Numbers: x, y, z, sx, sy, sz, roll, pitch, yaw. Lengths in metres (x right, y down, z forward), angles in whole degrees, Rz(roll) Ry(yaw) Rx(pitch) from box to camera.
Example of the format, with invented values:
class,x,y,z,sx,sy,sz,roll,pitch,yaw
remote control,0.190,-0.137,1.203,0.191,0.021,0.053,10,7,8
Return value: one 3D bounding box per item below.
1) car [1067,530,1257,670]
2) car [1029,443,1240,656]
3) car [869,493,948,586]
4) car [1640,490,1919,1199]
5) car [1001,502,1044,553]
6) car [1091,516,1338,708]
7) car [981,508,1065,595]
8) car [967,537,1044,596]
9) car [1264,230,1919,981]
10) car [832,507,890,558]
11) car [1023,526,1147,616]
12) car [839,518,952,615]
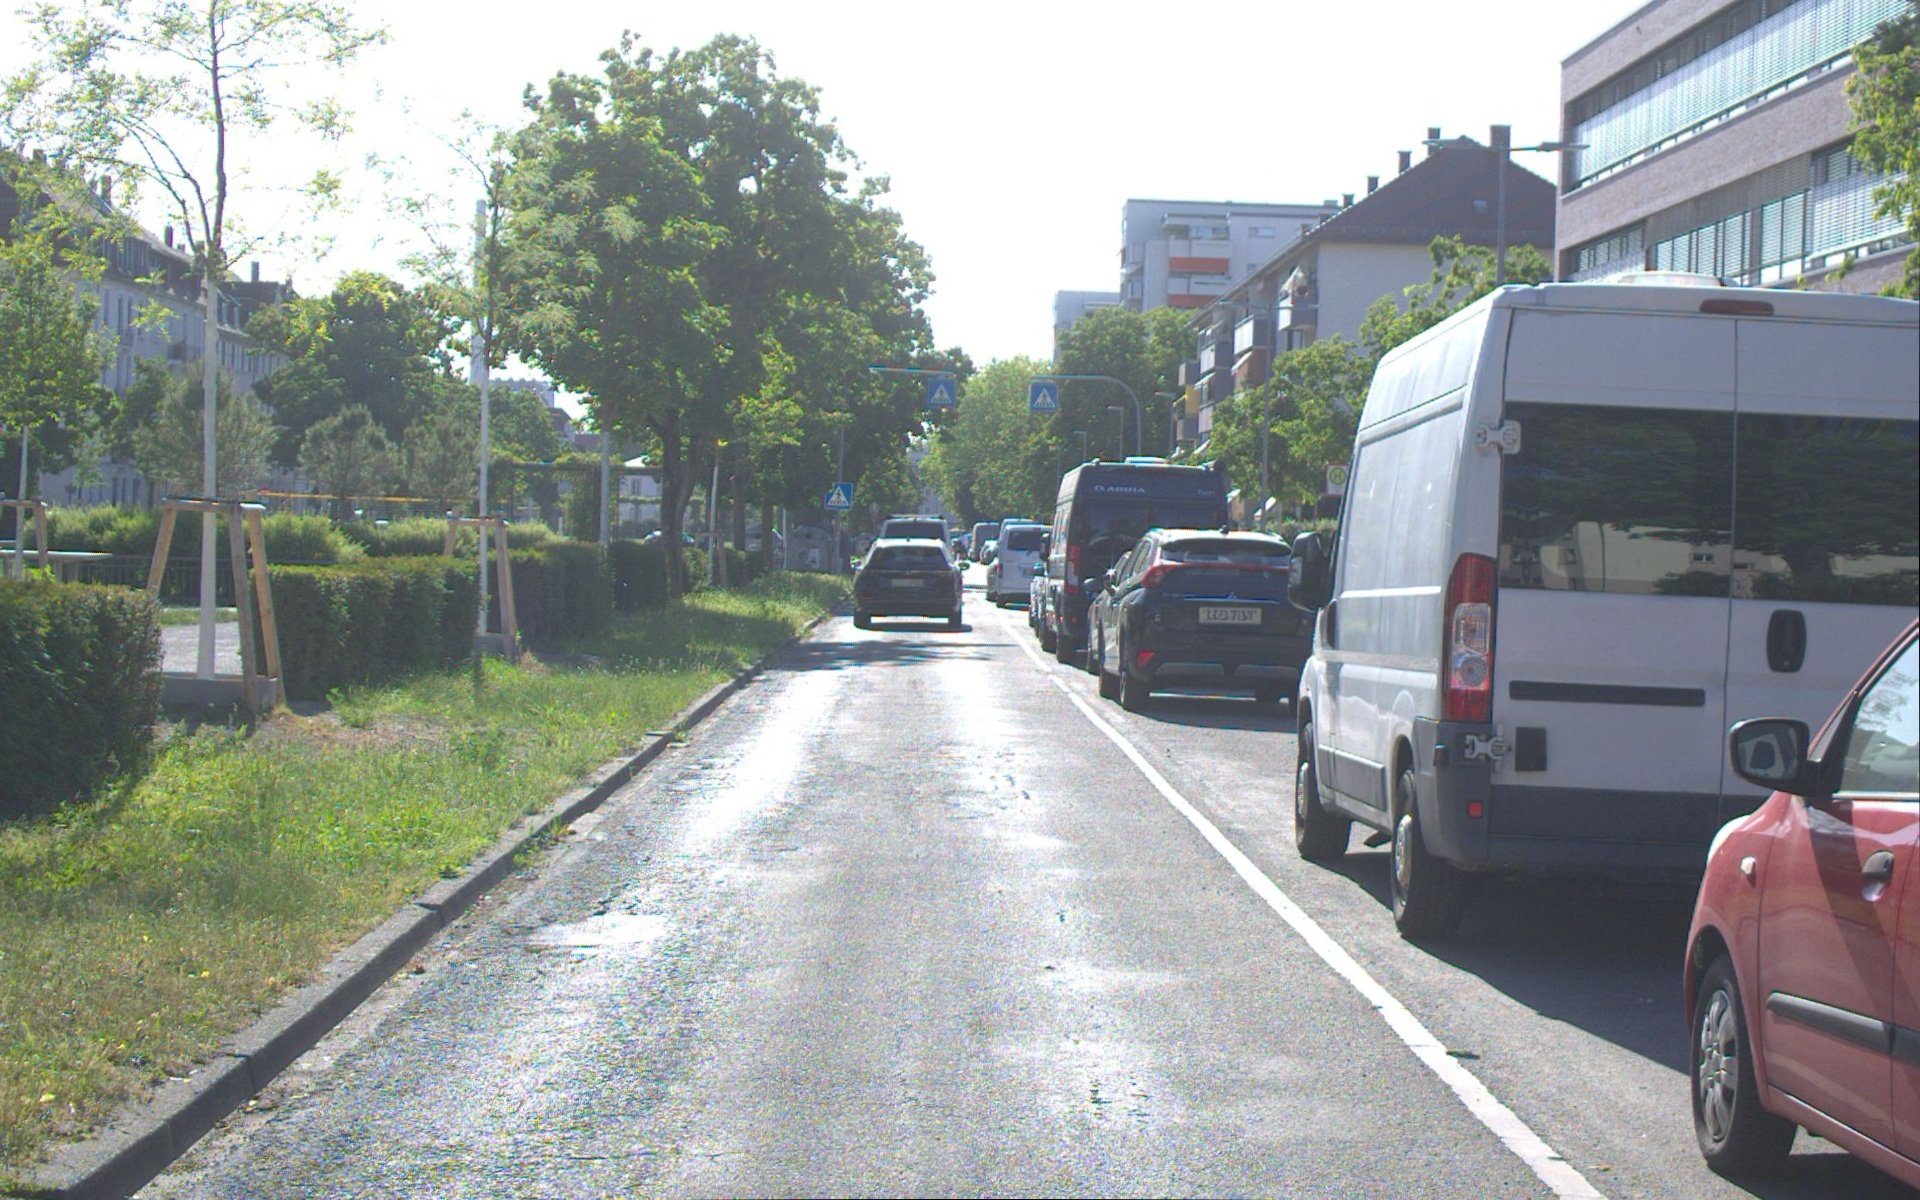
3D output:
class,x,y,z,sx,sy,sz,roll,pitch,yaw
car,2.223,-0.038,38.791,1.794,1.450,3.950,2,1,-1
car,2.165,-0.675,44.634,2.115,2.507,6.533,2,1,-2
car,-1.215,-1.454,82.324,1.794,2.115,4.000,2,1,0
car,2.632,0.601,6.869,1.619,1.583,3.592,2,2,-3
car,3.193,-3.721,176.492,1.993,2.422,4.500,4,1,0
car,2.317,0.060,32.406,1.846,1.634,4.504,2,1,-1
car,1.453,-1.126,78.123,1.794,1.848,4.413,2,1,1
car,1.099,-0.828,84.761,1.764,1.314,4.168,3,1,0
car,2.741,-0.027,14.787,2.241,2.565,5.433,2,1,0
car,-3.310,-2.281,115.344,1.794,1.618,4.000,2,1,0
car,2.076,-0.525,58.164,1.794,1.415,4.658,2,1,-1
car,-1.052,-0.590,57.855,1.794,1.505,4.000,2,1,0
